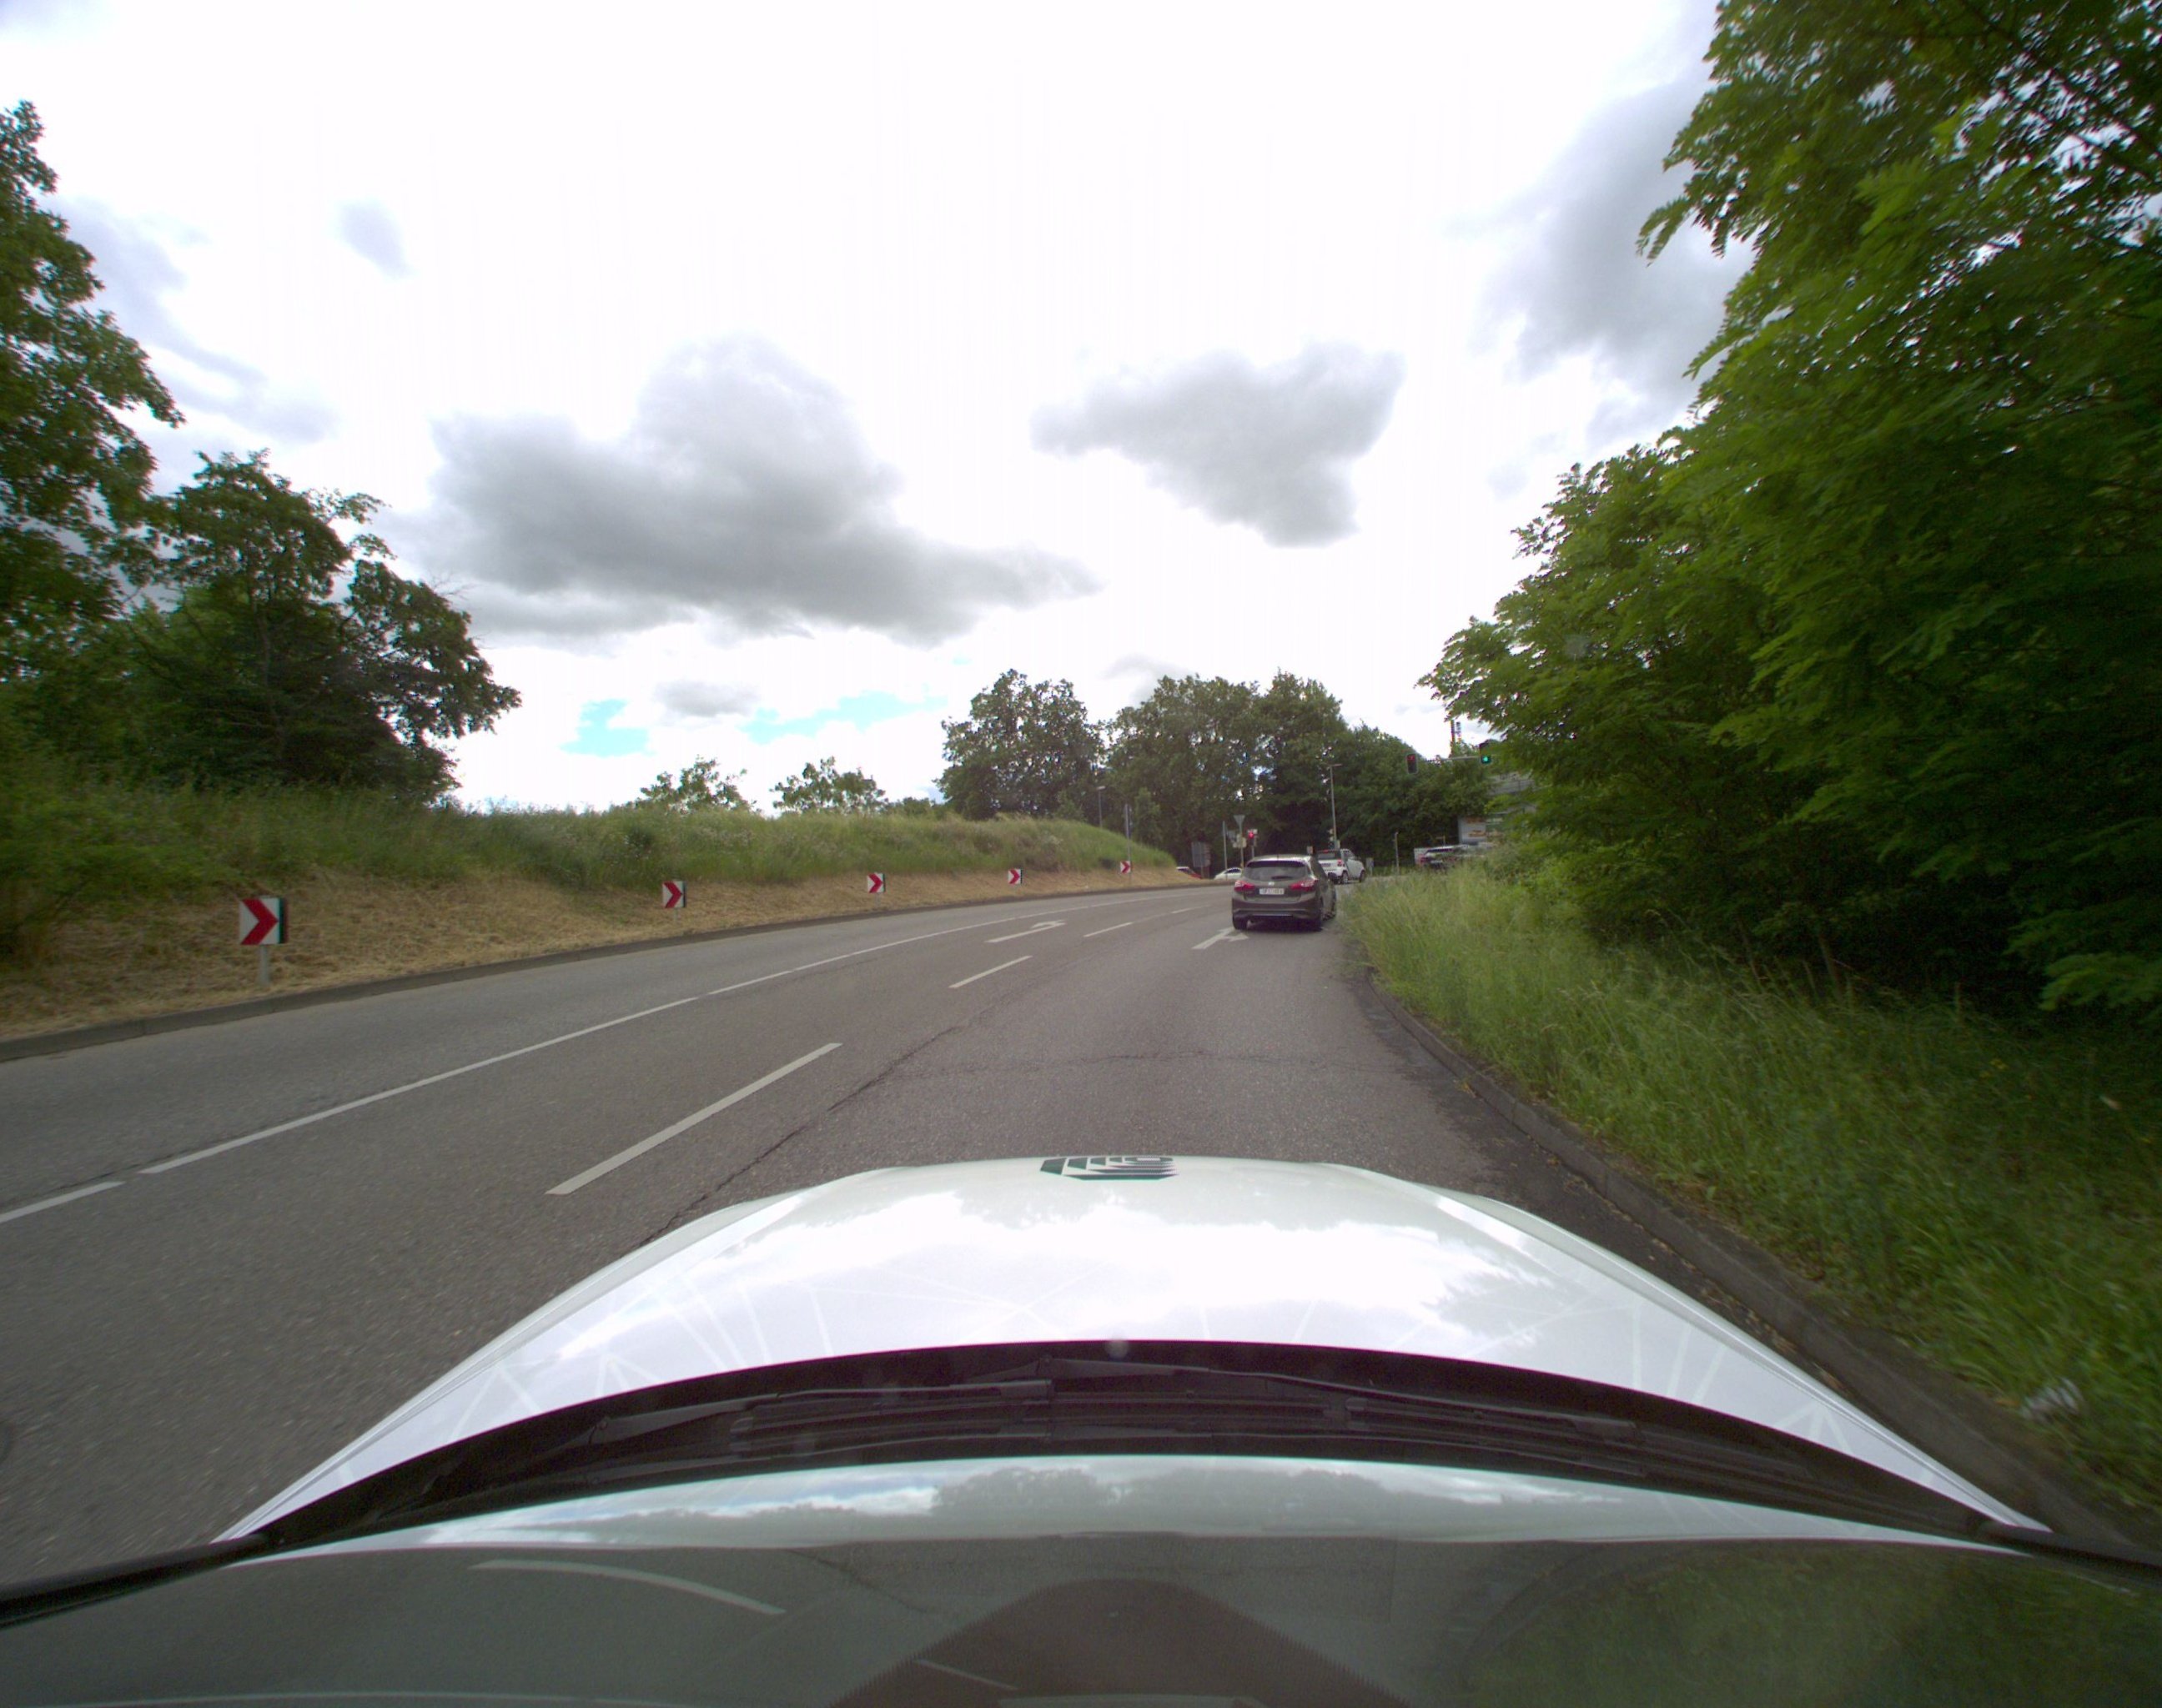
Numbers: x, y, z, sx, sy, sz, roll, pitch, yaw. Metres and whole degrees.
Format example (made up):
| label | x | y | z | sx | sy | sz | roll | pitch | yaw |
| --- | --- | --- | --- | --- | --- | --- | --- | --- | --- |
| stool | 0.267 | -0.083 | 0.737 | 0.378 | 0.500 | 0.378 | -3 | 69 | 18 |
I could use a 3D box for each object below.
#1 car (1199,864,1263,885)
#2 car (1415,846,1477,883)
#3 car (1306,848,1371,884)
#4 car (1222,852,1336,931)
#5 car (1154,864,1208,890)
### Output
| label | x | y | z | sx | sy | sz | roll | pitch | yaw |
| --- | --- | --- | --- | --- | --- | --- | --- | --- | --- |
| car | 11.230 | 1.551 | 61.136 | 2.011 | 1.339 | 4.366 | 2 | -5 | -42 |
| car | 15.642 | 0.409 | 34.802 | 1.881 | 1.466 | 4.025 | -1 | 0 | 32 |
| car | 11.504 | 0.506 | 36.297 | 1.561 | 1.557 | 3.035 | -1 | 0 | 44 |
| car | 4.400 | 0.717 | 17.668 | 1.829 | 1.493 | 4.021 | -1 | 0 | 22 |
| car | 8.009 | 1.864 | 65.641 | 1.865 | 1.814 | 3.990 | -1 | -4 | -42 |
